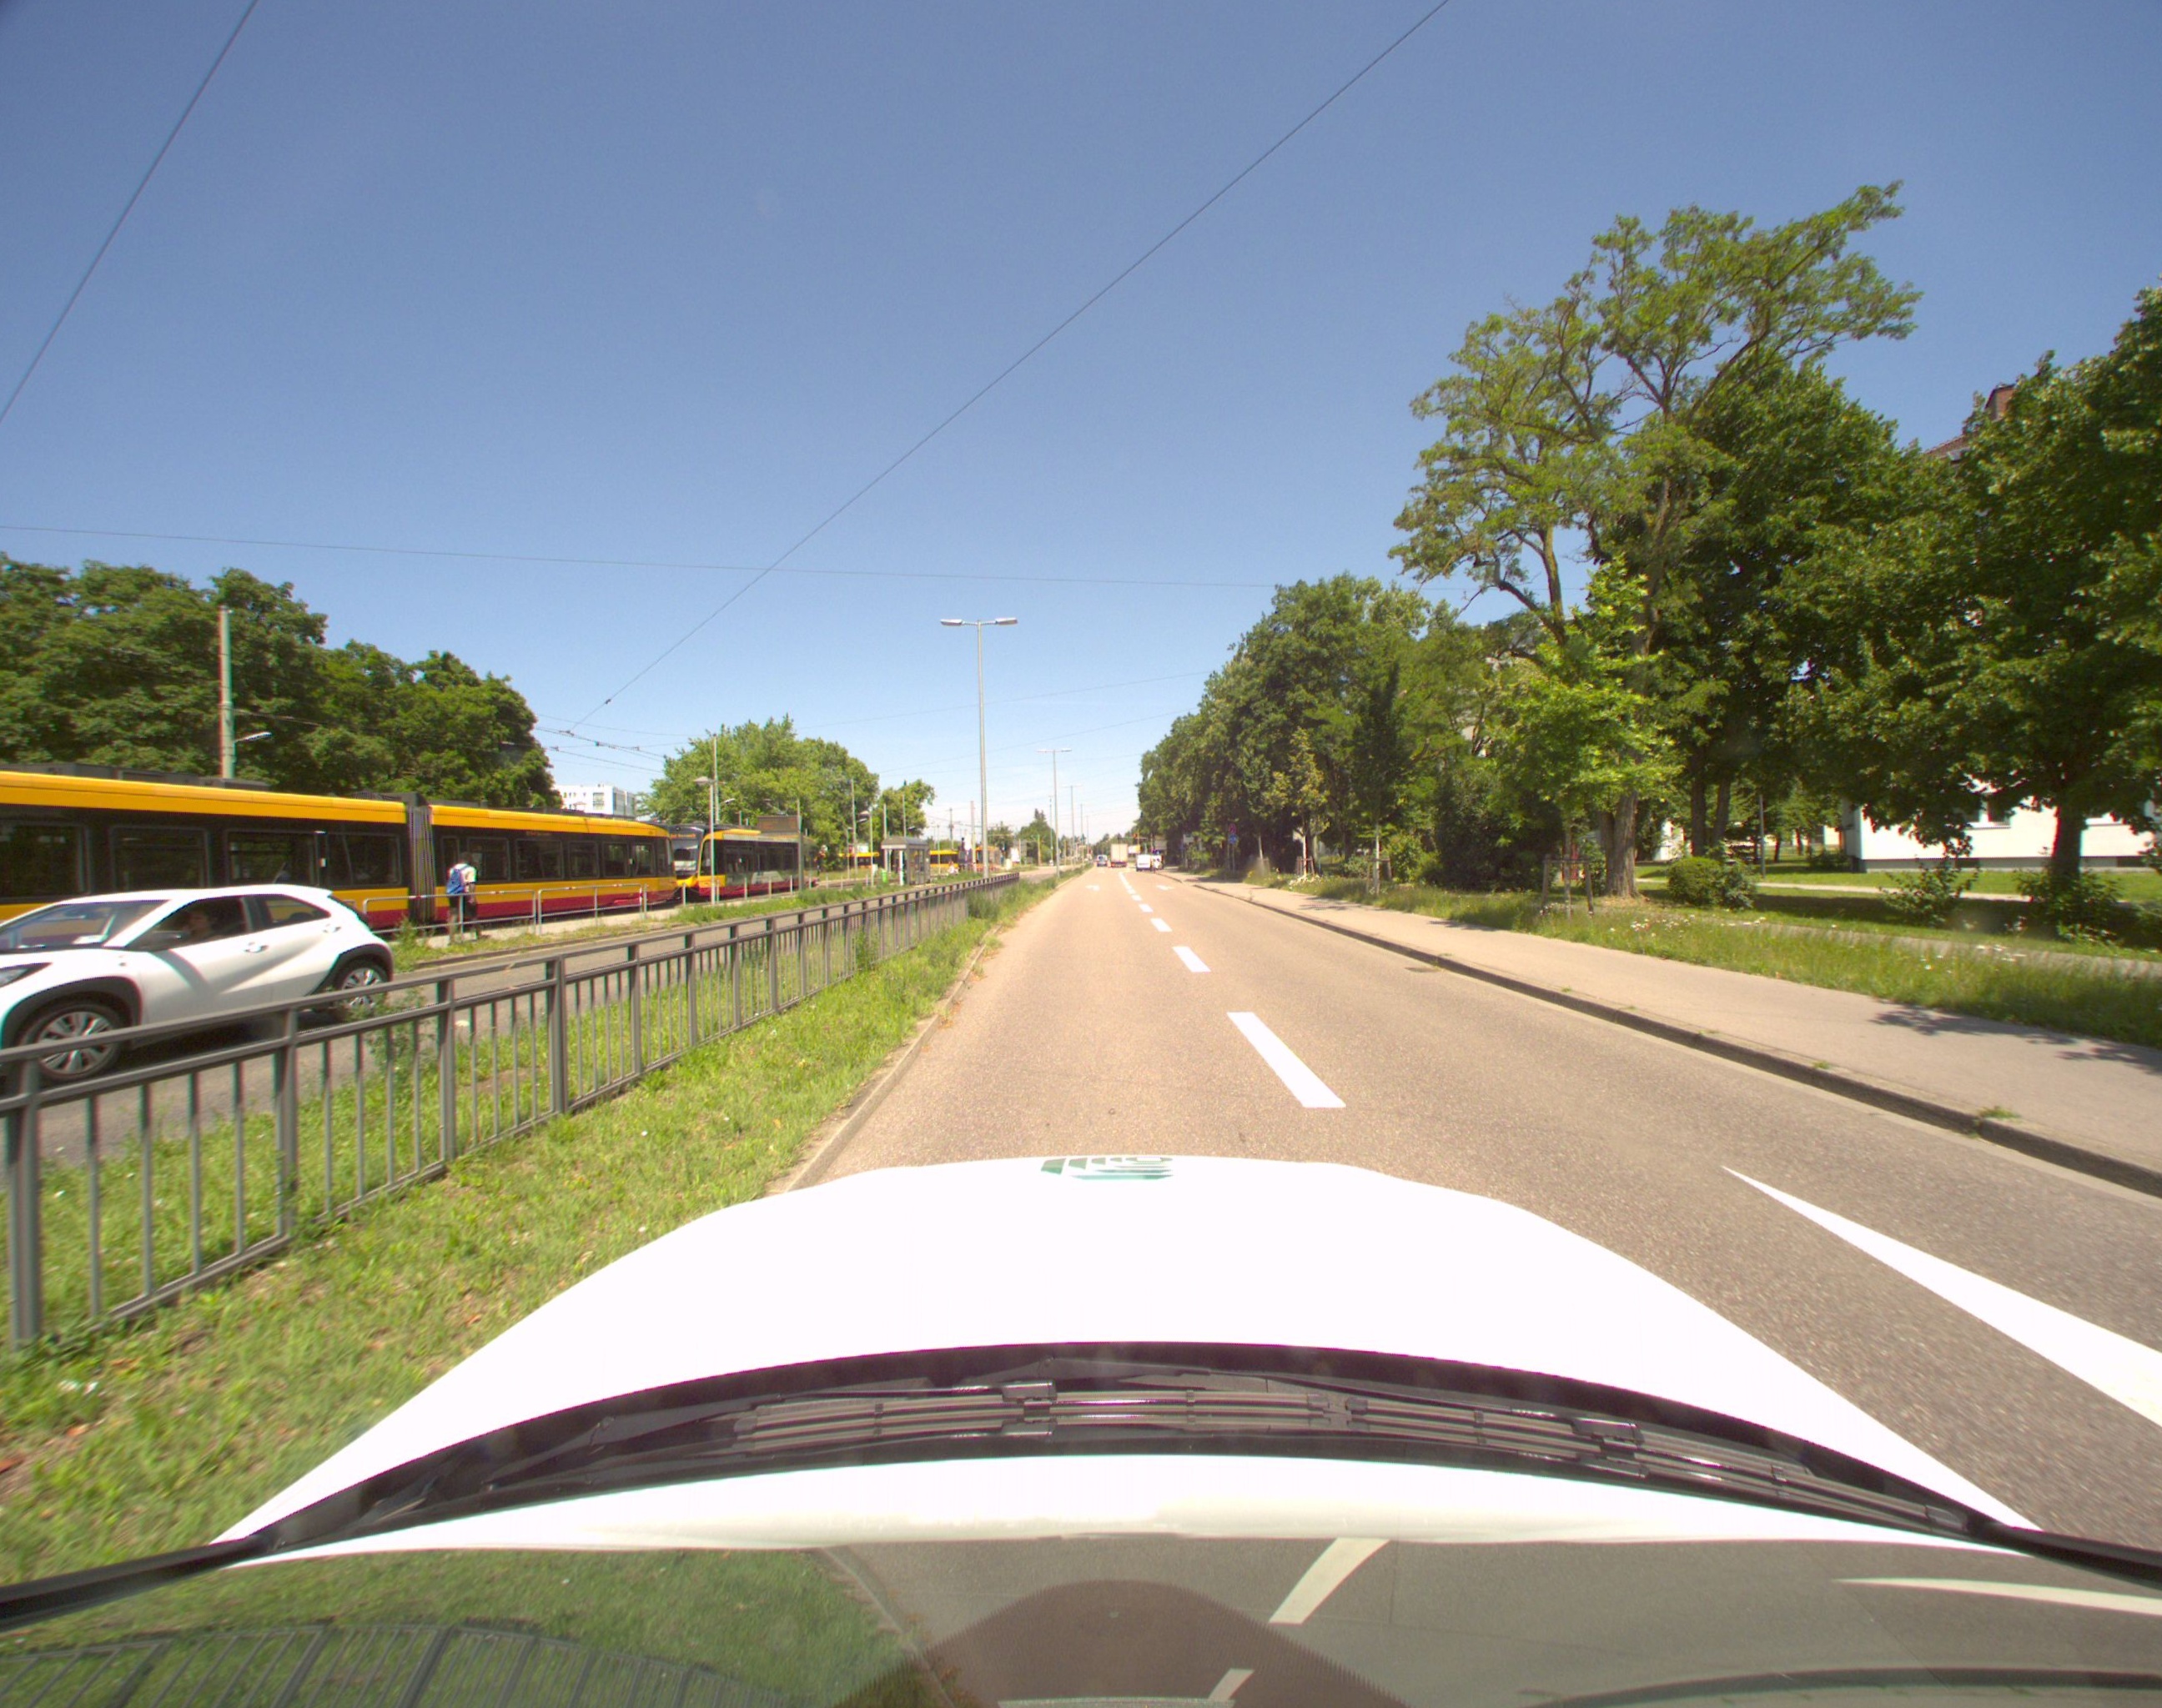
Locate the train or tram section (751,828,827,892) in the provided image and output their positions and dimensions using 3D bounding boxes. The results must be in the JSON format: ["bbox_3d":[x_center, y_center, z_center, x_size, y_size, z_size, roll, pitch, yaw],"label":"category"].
[{"bbox_3d":[-18.732,0.356,53.058,3.046,3.624,12.398,0,0,-12],"label":"train or tram section"}]

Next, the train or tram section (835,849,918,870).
[{"bbox_3d":[-33.989,0.960,135.336,13.143,3.466,3.054,0,0,9],"label":"train or tram section"}]

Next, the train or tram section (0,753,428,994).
[{"bbox_3d":[-18.283,0.314,14.416,3.032,3.741,12.599,0,0,1],"label":"train or tram section"}]

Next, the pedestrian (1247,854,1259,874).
[{"bbox_3d":[12.337,0.709,58.398,0.705,1.398,0.763,0,0,2],"label":"pedestrian"}]

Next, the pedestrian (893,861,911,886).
[{"bbox_3d":[-11.482,1.256,52.234,0.928,1.546,0.985,0,0,-1],"label":"pedestrian"}]

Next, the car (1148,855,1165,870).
[{"bbox_3d":[8.997,1.010,97.590,1.694,1.654,4.398,0,0,0],"label":"car"}]

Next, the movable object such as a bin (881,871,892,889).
[{"bbox_3d":[-10.878,1.434,45.528,0.480,0.978,0.644,-1,-1,-3],"label":"movable object such as a bin"}]

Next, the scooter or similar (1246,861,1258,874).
[{"bbox_3d":[12.356,0.963,58.922,0.705,0.893,0.763,0,0,2],"label":"scooter or similar"}]

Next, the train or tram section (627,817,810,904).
[{"bbox_3d":[-17.480,0.287,41.018,3.034,3.624,13.894,0,0,0],"label":"train or tram section"}]

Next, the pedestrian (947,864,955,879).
[{"bbox_3d":[-10.619,1.425,66.699,0.579,1.189,0.536,0,0,0],"label":"pedestrian"}]

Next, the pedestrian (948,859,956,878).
[{"bbox_3d":[-10.771,1.215,68.121,0.533,1.565,0.582,0,0,0],"label":"pedestrian"}]

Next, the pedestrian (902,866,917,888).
[{"bbox_3d":[-10.311,1.367,49.013,0.699,1.283,0.840,0,0,-1],"label":"pedestrian"}]

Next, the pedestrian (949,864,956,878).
[{"bbox_3d":[-10.632,1.407,67.194,0.492,1.189,0.401,0,-1,2],"label":"pedestrian"}]

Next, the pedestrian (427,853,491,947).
[{"bbox_3d":[-12.119,0.871,15.887,0.630,1.791,0.776,0,0,0],"label":"pedestrian"}]

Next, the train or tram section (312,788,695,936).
[{"bbox_3d":[-17.866,0.230,27.388,3.032,3.767,13.267,0,0,2],"label":"train or tram section"}]

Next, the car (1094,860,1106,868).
[{"bbox_3d":[3.285,1.693,140.823,1.886,1.372,4.431,1,0,1],"label":"car"}]

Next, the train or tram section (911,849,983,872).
[{"bbox_3d":[-21.625,1.054,130.704,12.586,3.466,3.065,0,0,33],"label":"train or tram section"}]

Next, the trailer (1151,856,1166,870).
[{"bbox_3d":[8.956,1.015,93.950,1.464,1.669,2.856,0,0,0],"label":"trailer"}]

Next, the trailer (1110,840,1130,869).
[{"bbox_3d":[6.131,0.101,129.926,2.818,4.421,8.748,0,0,0],"label":"trailer"}]

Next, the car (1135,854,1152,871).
[{"bbox_3d":[6.766,0.926,88.184,1.703,1.747,4.430,0,0,3],"label":"car"}]

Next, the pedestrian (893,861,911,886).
[{"bbox_3d":[-11.225,1.246,51.114,0.871,1.546,1.025,0,0,-1],"label":"pedestrian"}]

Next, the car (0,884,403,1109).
[{"bbox_3d":[-8.647,1.101,7.436,1.764,1.505,3.719,-1,0,0],"label":"car"}]

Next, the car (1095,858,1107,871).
[{"bbox_3d":[3.579,1.916,147.768,1.987,2.111,4.746,-1,0,-1],"label":"car"}]
